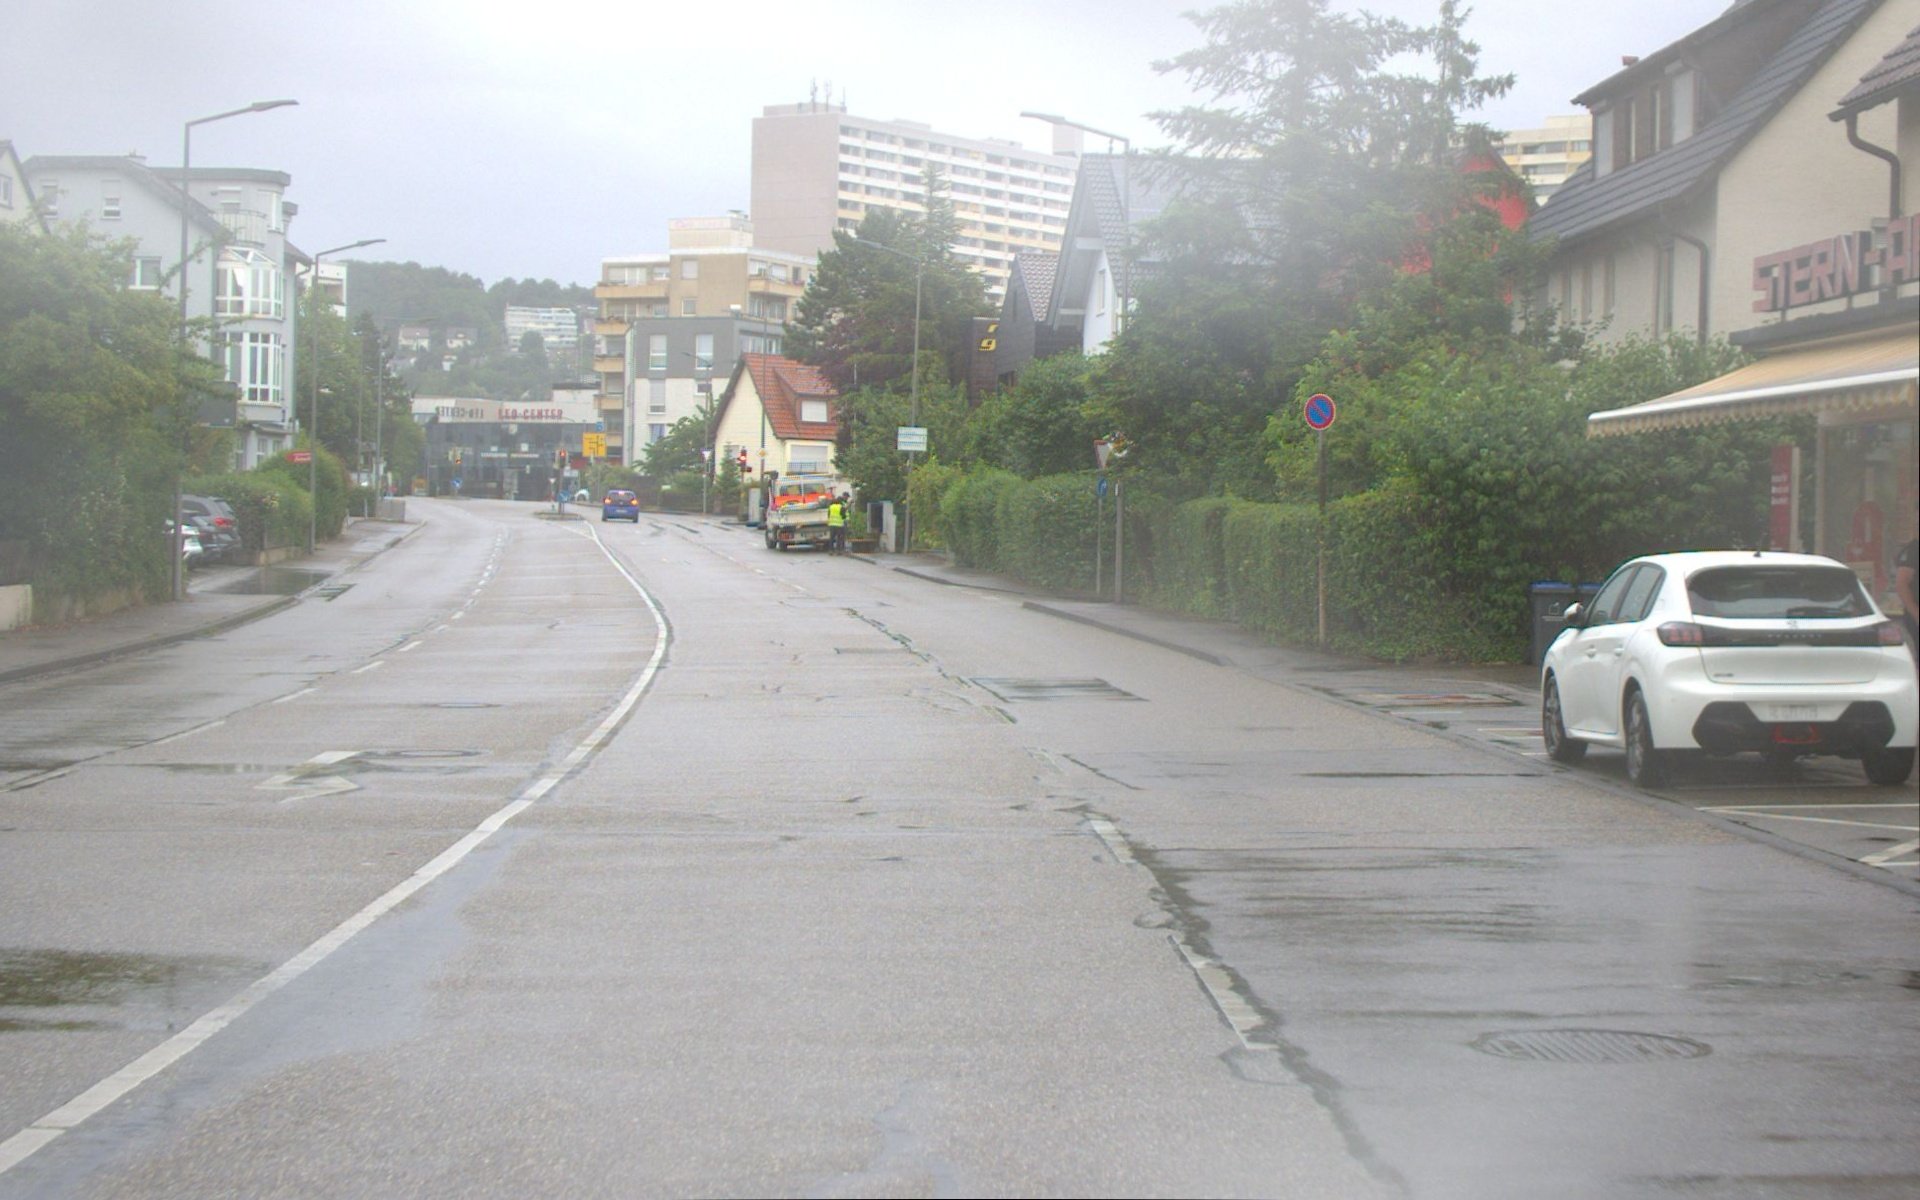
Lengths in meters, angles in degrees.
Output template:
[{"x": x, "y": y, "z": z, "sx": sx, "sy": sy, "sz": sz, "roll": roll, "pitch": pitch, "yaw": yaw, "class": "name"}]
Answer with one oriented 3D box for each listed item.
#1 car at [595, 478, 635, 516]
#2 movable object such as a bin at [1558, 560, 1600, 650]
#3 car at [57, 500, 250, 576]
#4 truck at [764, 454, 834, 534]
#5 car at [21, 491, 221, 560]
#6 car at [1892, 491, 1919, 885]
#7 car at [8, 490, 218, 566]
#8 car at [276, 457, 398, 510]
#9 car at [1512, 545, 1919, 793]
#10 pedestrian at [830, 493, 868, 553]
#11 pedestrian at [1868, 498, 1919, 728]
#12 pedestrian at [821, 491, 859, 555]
[{"x": -15.825, "y": -4.709, "z": 157.828, "sx": 1.794, "sy": 1.664, "sz": 4.001, "roll": 0, "pitch": 1, "yaw": -5, "class": "car"}, {"x": 6.876, "y": 0.056, "z": 38.210, "sx": 0.366, "sy": 0.983, "sz": 0.356, "roll": 1, "pitch": 1, "yaw": -4, "class": "movable object such as a bin"}, {"x": -18.762, "y": -1.445, "z": 80.026, "sx": 3.989, "sy": 1.680, "sz": 1.808, "roll": 1, "pitch": 1, "yaw": 12, "class": "car"}, {"x": -4.819, "y": -3.176, "z": 102.873, "sx": 1.993, "sy": 2.295, "sz": 4.001, "roll": 1, "pitch": 2, "yaw": -3, "class": "truck"}, {"x": -18.543, "y": -1.645, "z": 76.087, "sx": 3.987, "sy": 1.441, "sz": 1.706, "roll": 1, "pitch": 1, "yaw": 1, "class": "car"}, {"x": 5.116, "y": 0.371, "z": 12.635, "sx": 2.035, "sy": 1.689, "sz": 4.963, "roll": -1, "pitch": 0, "yaw": 0, "class": "car"}, {"x": -18.173, "y": -1.552, "z": 73.900, "sx": 3.987, "sy": 1.429, "sz": 1.971, "roll": 3, "pitch": 2, "yaw": 0, "class": "car"}, {"x": -26.048, "y": -4.866, "z": 143.821, "sx": 4.524, "sy": 2.006, "sz": 1.999, "roll": 3, "pitch": 2, "yaw": 9, "class": "car"}, {"x": 4.906, "y": 0.372, "z": 22.480, "sx": 1.815, "sy": 1.443, "sz": 4.204, "roll": 0, "pitch": 1, "yaw": -1, "class": "car"}, {"x": -3.216, "y": -2.225, "z": 99.655, "sx": 0.823, "sy": 1.720, "sz": 0.841, "roll": 0, "pitch": 2, "yaw": -24, "class": "pedestrian"}, {"x": 7.079, "y": 0.092, "z": 25.267, "sx": 0.550, "sy": 1.673, "sz": 0.517, "roll": 1, "pitch": 1, "yaw": -38, "class": "pedestrian"}, {"x": -3.433, "y": -2.207, "z": 98.613, "sx": 0.823, "sy": 1.791, "sz": 0.800, "roll": 0, "pitch": 2, "yaw": -24, "class": "pedestrian"}]
